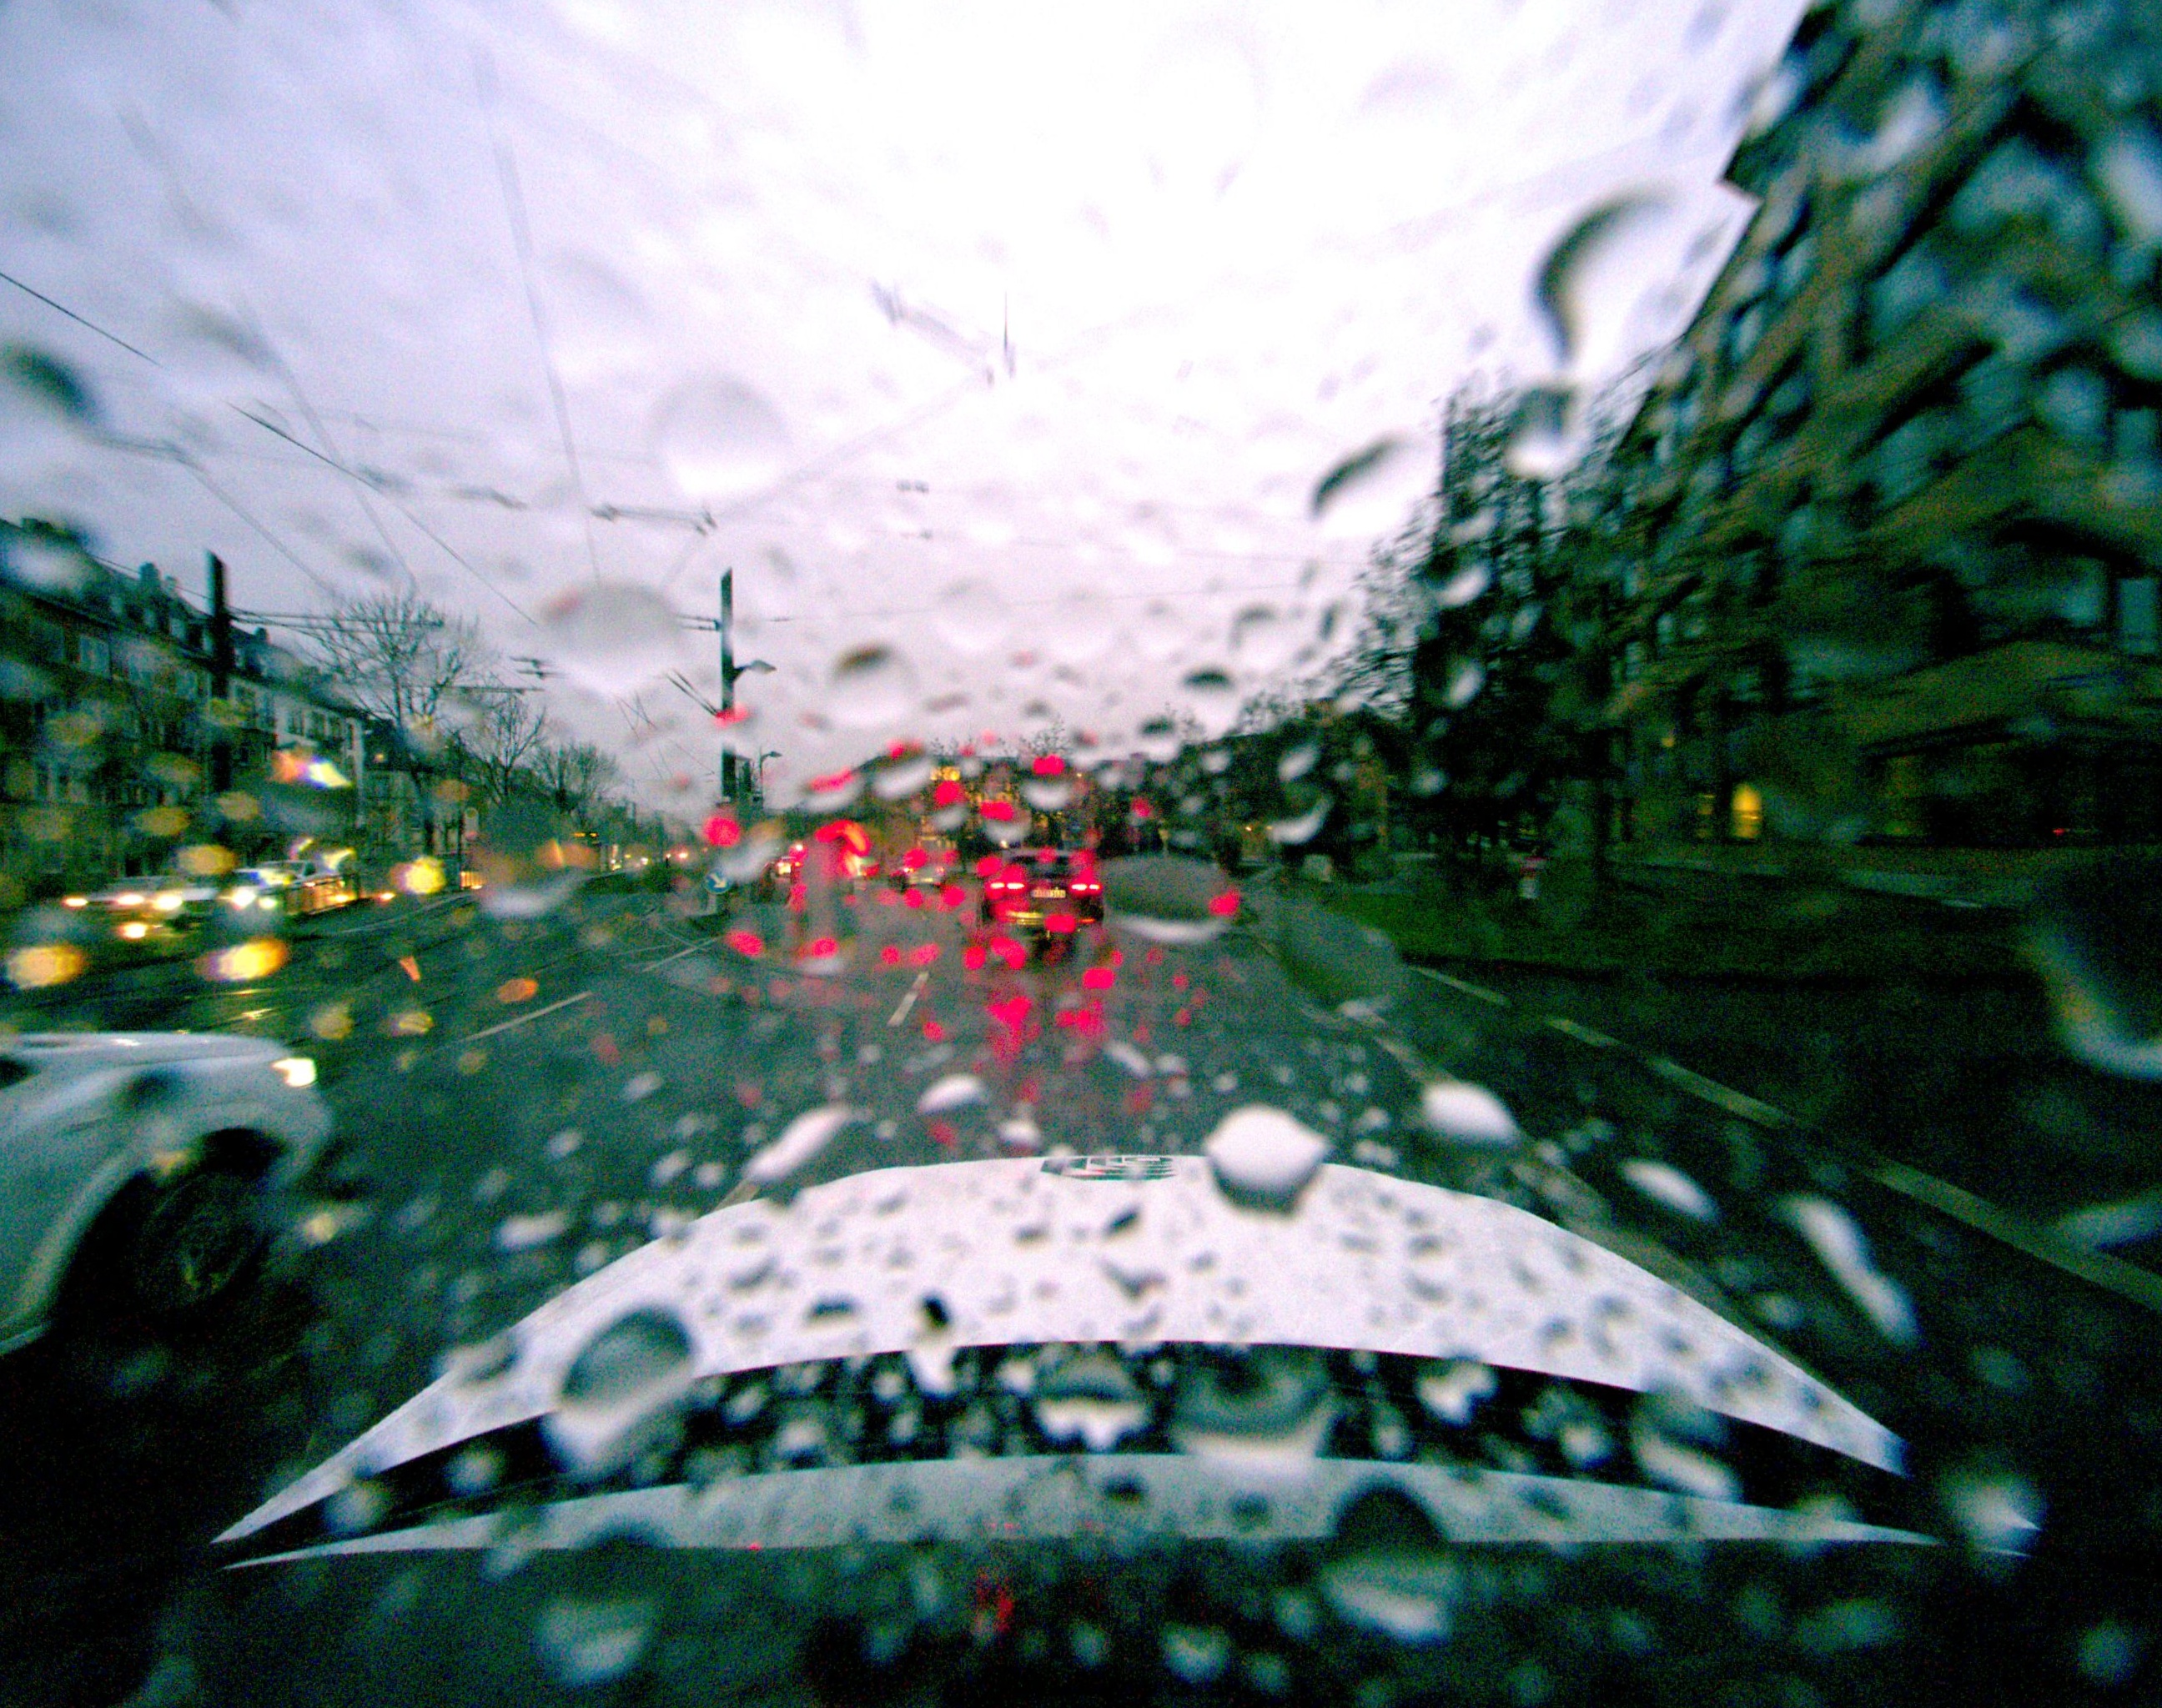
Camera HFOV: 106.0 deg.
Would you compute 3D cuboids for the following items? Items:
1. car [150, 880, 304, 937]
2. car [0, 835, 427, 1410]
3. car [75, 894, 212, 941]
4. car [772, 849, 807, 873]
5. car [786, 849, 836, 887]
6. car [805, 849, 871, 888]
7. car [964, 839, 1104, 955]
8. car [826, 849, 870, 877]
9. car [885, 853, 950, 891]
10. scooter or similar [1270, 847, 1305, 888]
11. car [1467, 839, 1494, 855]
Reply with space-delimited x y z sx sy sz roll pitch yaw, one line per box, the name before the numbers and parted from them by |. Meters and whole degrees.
car | -23.745 1.449 22.847 1.544 1.245 4.054 -2 1 -25
car | -3.653 0.736 1.425 1.620 1.487 4.003 -2 1 2
car | -32.408 2.153 28.302 1.544 1.226 4.054 -2 1 -25
car | -20.825 0.462 58.144 2.003 1.618 3.968 -2 1 -25
car | -13.956 0.676 41.929 2.003 1.765 3.968 -2 1 -24
car | -9.858 0.547 32.863 2.003 1.398 3.968 -2 1 -25
car | -0.824 0.584 13.806 1.987 1.616 3.994 -2 1 -5
car | -14.503 0.515 50.554 2.003 1.618 3.968 -2 1 -25
car | -6.936 0.696 34.265 2.001 1.408 3.971 -2 1 -22
scooter or similar | 6.470 0.420 25.494 1.151 1.231 0.482 -2 1 -41
car | 32.604 -0.612 66.526 1.653 1.180 3.728 -1 1 21
